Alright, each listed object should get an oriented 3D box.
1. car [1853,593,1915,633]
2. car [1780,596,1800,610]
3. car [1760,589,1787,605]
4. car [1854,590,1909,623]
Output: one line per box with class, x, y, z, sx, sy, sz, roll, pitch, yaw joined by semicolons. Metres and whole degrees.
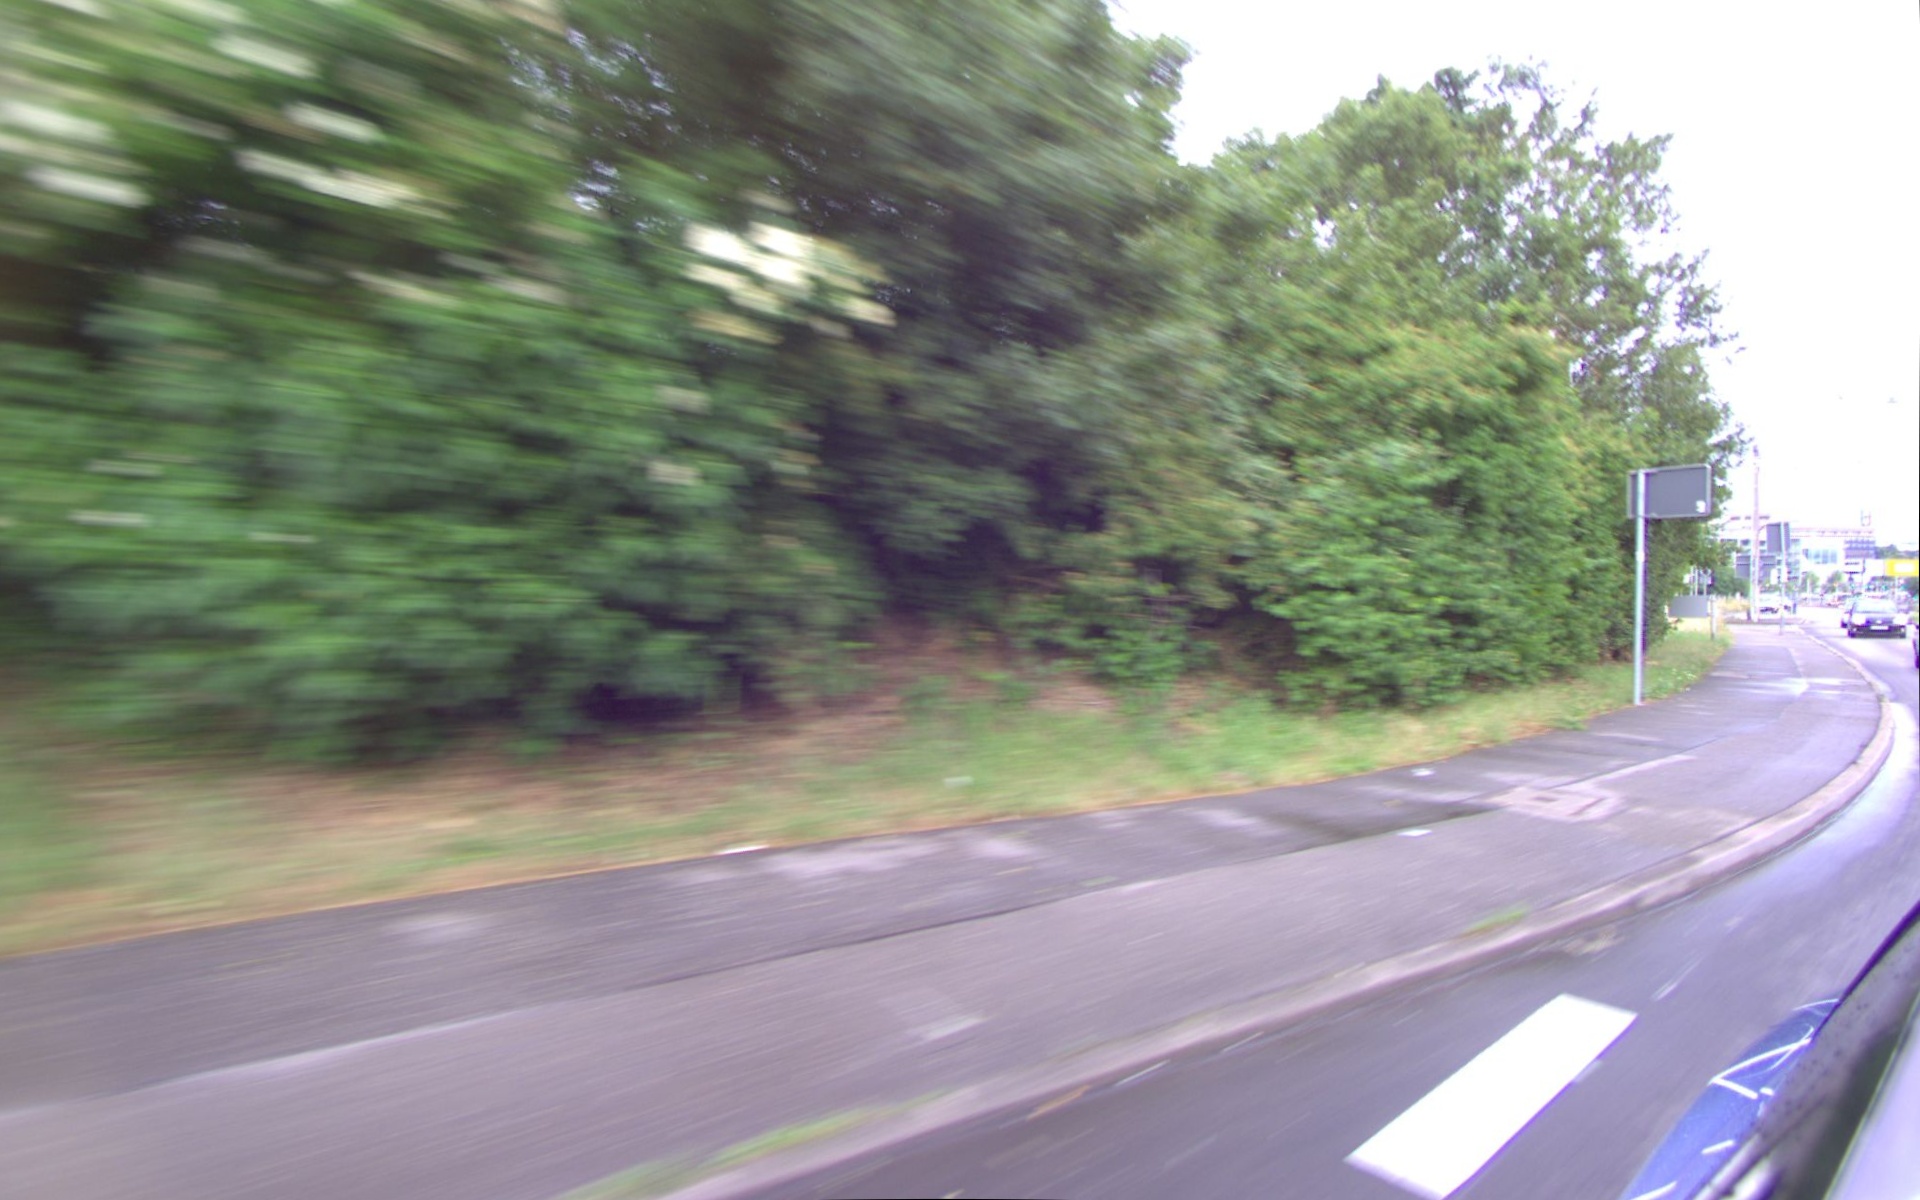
car;36.967;0.471;40.515;1.775;1.520;3.939;0;0;42
car;92.758;0.327;113.083;1.694;1.456;3.910;0;0;39
car;78.411;-0.272;97.583;1.984;1.559;4.052;0;0;39
car;47.335;0.329;51.974;1.993;1.592;3.938;-3;-1;43
